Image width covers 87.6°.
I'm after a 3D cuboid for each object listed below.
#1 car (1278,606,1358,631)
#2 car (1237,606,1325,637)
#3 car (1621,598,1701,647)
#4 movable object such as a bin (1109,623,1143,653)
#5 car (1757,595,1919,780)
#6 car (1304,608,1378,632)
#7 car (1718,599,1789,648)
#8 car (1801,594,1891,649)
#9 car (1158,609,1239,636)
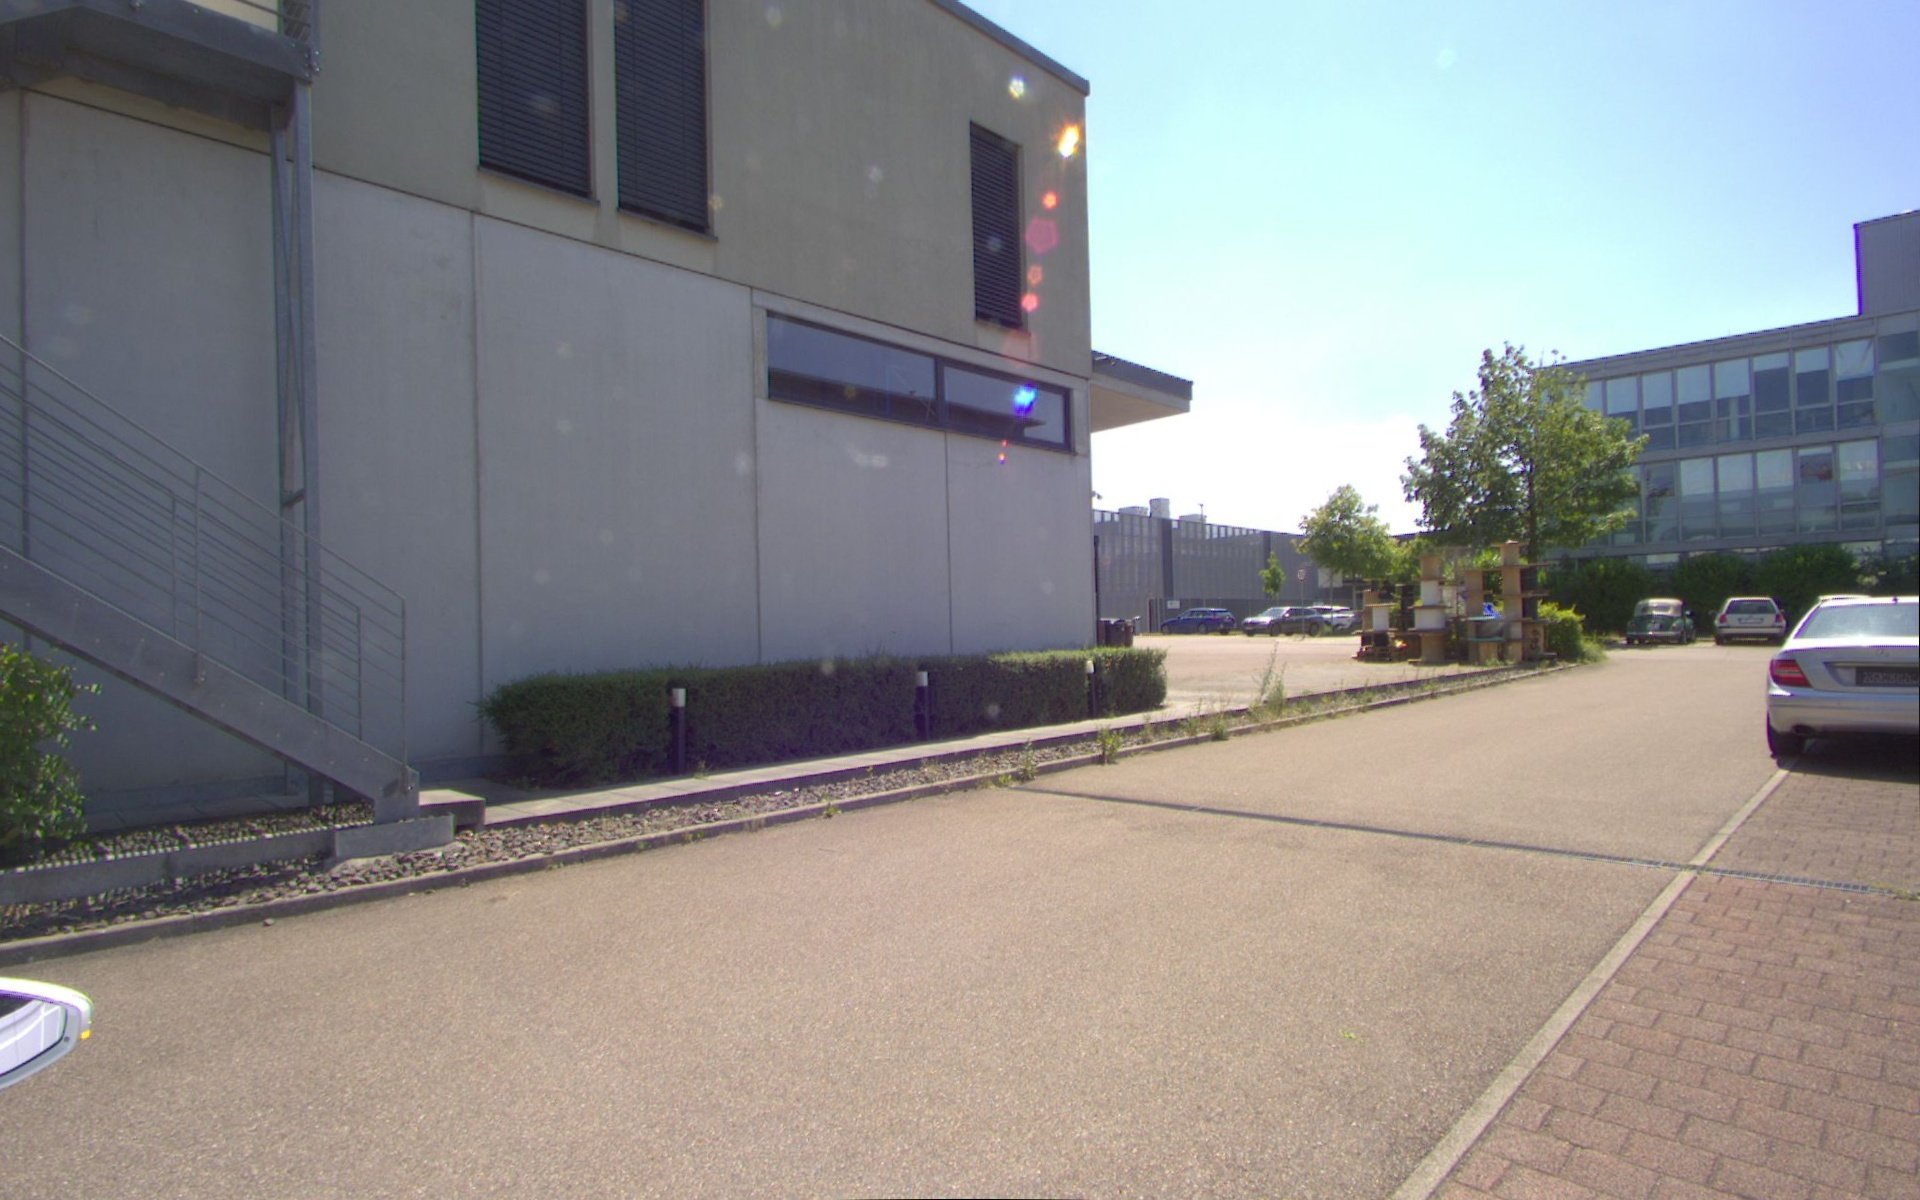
[{"bbox_3d":[21.377,1.129,59.914,1.726,1.433,4.423,1,-2,-32],"label":"car"},{"bbox_3d":[16.080,1.079,50.227,4.106,1.539,1.649,0,-1,-22],"label":"car"},{"bbox_3d":[23.223,0.757,33.126,1.730,1.538,3.967,-1,-2,41],"label":"car"},{"bbox_3d":[5.562,1.262,33.461,0.809,0.993,0.803,-1,-2,44],"label":"movable object such as a bin"},{"bbox_3d":[8.793,0.726,9.328,3.681,1.455,1.713,1,-2,-45],"label":"car"},{"bbox_3d":[23.287,1.240,61.282,1.726,1.433,4.043,1,-2,-32],"label":"car"},{"bbox_3d":[24.928,0.745,31.565,1.653,1.459,3.973,-1,-2,37],"label":"car"},{"bbox_3d":[26.854,0.667,30.455,1.728,1.538,3.973,-1,-2,37],"label":"car"},{"bbox_3d":[13.000,1.259,54.780,1.725,1.433,4.425,1,-2,-31],"label":"car"}]
